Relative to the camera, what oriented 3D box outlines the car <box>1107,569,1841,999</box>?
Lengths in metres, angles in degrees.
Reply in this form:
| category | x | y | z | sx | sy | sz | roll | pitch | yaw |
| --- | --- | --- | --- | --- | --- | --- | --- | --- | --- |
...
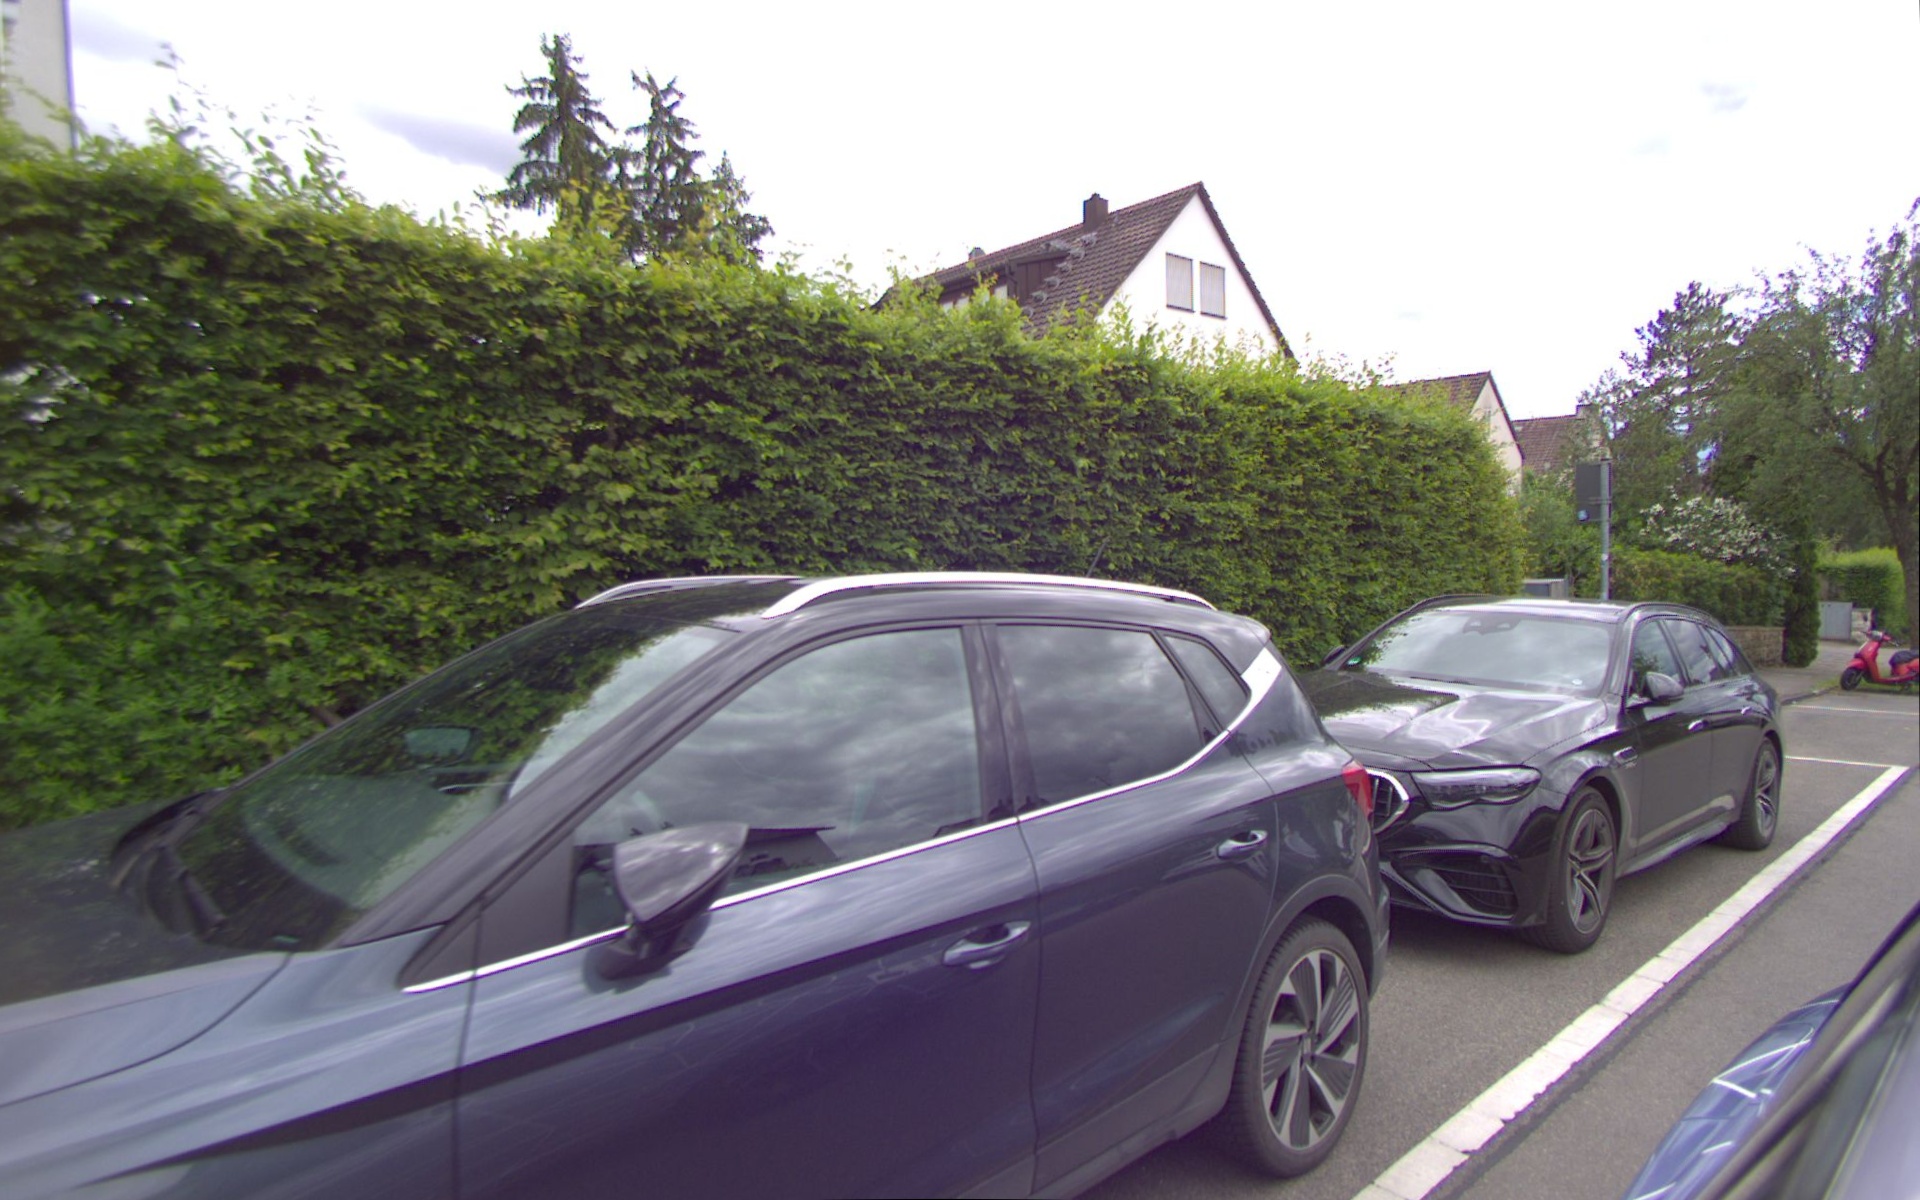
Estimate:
| category | x | y | z | sx | sy | sz | roll | pitch | yaw |
| --- | --- | --- | --- | --- | --- | --- | --- | --- | --- |
| car | 3.344 | 0.646 | 5.984 | 5.114 | 1.512 | 1.928 | 0 | 2 | -39 |

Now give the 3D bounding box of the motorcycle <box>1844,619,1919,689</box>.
| category | x | y | z | sx | sy | sz | roll | pitch | yaw |
| --- | --- | --- | --- | --- | --- | --- | --- | --- | --- |
| motorcycle | 16.920 | 0.965 | 17.786 | 1.917 | 1.147 | 0.655 | 3 | 2 | 23 |

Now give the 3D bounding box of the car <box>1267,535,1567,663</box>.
| category | x | y | z | sx | sy | sz | roll | pitch | yaw |
| --- | --- | --- | --- | --- | --- | --- | --- | --- | --- |
| car | 7.377 | -0.119 | 16.611 | 1.821 | 1.521 | 3.994 | -1 | 8 | -44 |

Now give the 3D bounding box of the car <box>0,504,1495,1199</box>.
| category | x | y | z | sx | sy | sz | roll | pitch | yaw |
| --- | --- | --- | --- | --- | --- | --- | --- | --- | --- |
| car | -0.577 | 0.633 | 2.359 | 4.303 | 1.507 | 1.793 | 0 | 2 | -41 |
